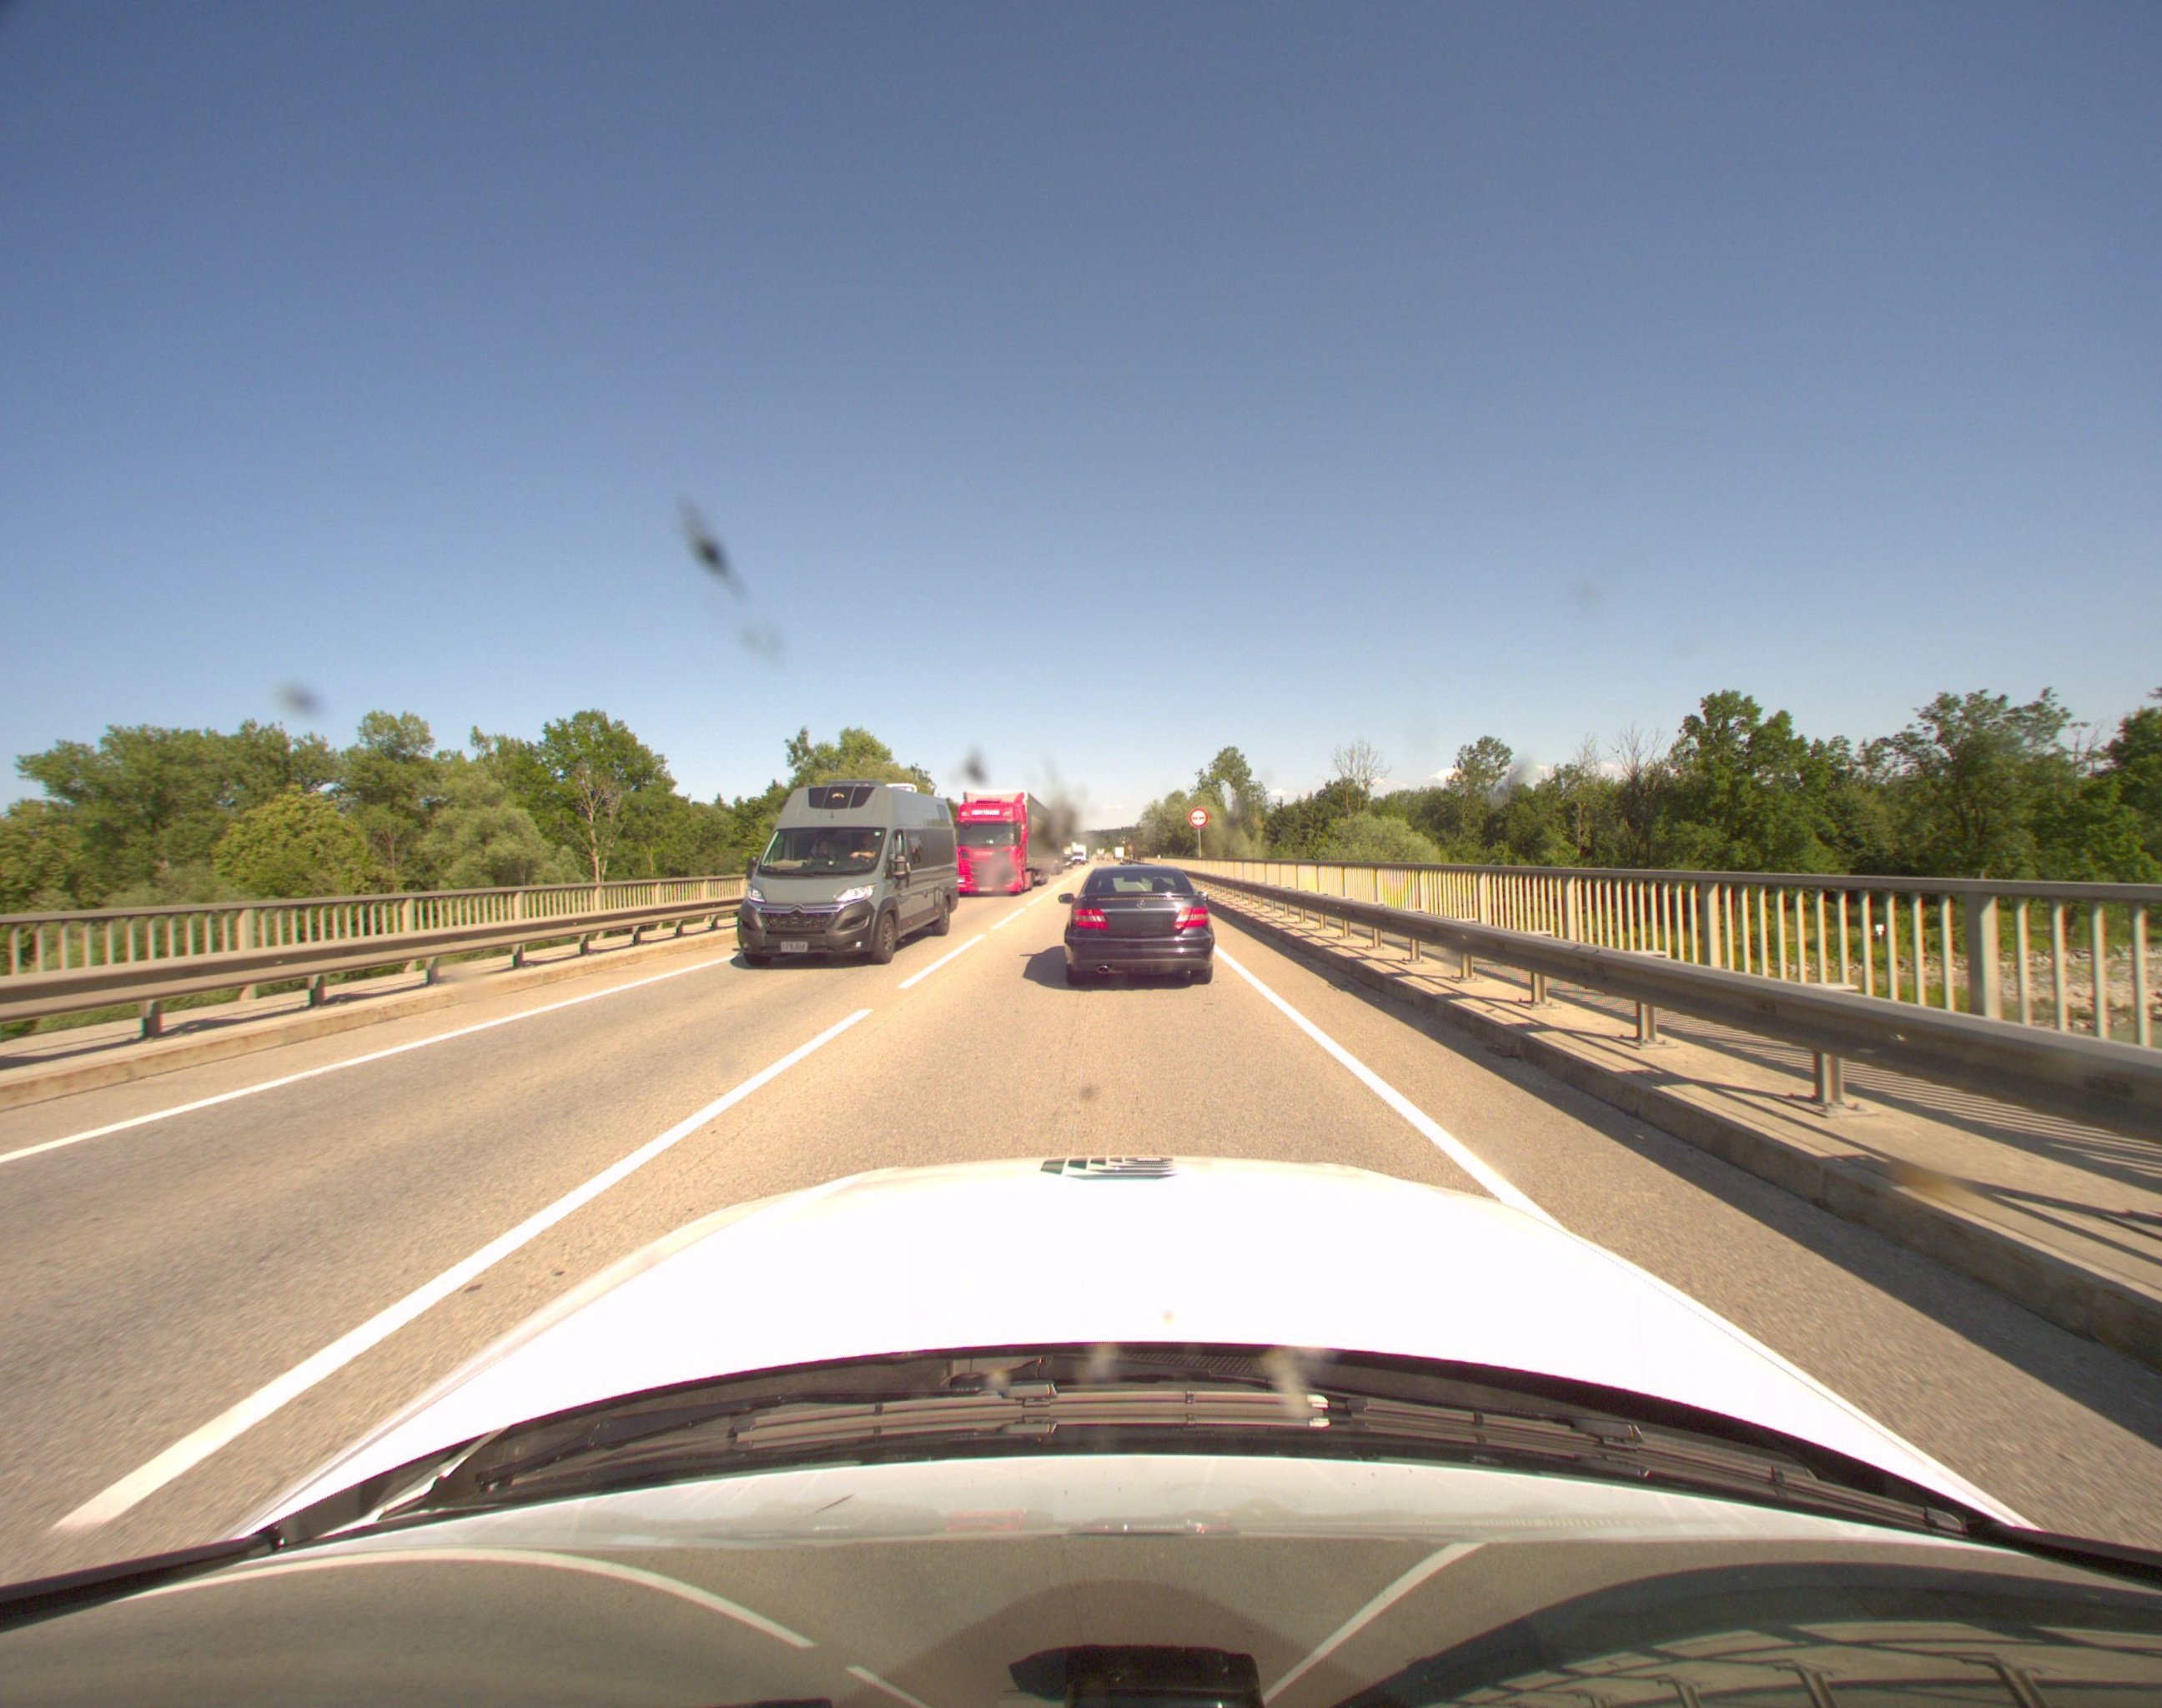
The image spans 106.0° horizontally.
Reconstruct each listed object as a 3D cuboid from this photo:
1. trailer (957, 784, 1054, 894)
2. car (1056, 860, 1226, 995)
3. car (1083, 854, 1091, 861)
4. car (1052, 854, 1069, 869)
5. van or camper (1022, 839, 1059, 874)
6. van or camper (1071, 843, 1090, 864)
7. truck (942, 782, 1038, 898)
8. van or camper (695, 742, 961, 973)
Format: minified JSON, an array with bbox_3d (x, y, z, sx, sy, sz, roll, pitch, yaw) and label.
[{"bbox_3d":[-3.257,-0.603,39.500,2.896,4.302,14.307,-1,0,2],"label":"trailer"},{"bbox_3d":[0.737,0.799,10.675,1.786,1.376,4.003,-1,0,3],"label":"car"},{"bbox_3d":[1.231,0.748,176.718,1.654,1.436,4.187,-1,0,0],"label":"car"},{"bbox_3d":[-2.219,0.839,91.205,1.836,1.642,4.575,-1,0,-1],"label":"car"},{"bbox_3d":[-3.112,0.178,64.544,2.421,2.642,6.406,-1,0,1],"label":"van or camper"},{"bbox_3d":[-0.081,-0.064,133.962,2.624,3.256,7.757,-1,0,4],"label":"van or camper"},{"bbox_3d":[-3.483,-0.523,32.660,2.896,4.184,5.716,-1,0,2],"label":"truck"},{"bbox_3d":[-3.880,0.048,14.272,2.306,3.051,6.819,-1,0,2],"label":"van or camper"}]
